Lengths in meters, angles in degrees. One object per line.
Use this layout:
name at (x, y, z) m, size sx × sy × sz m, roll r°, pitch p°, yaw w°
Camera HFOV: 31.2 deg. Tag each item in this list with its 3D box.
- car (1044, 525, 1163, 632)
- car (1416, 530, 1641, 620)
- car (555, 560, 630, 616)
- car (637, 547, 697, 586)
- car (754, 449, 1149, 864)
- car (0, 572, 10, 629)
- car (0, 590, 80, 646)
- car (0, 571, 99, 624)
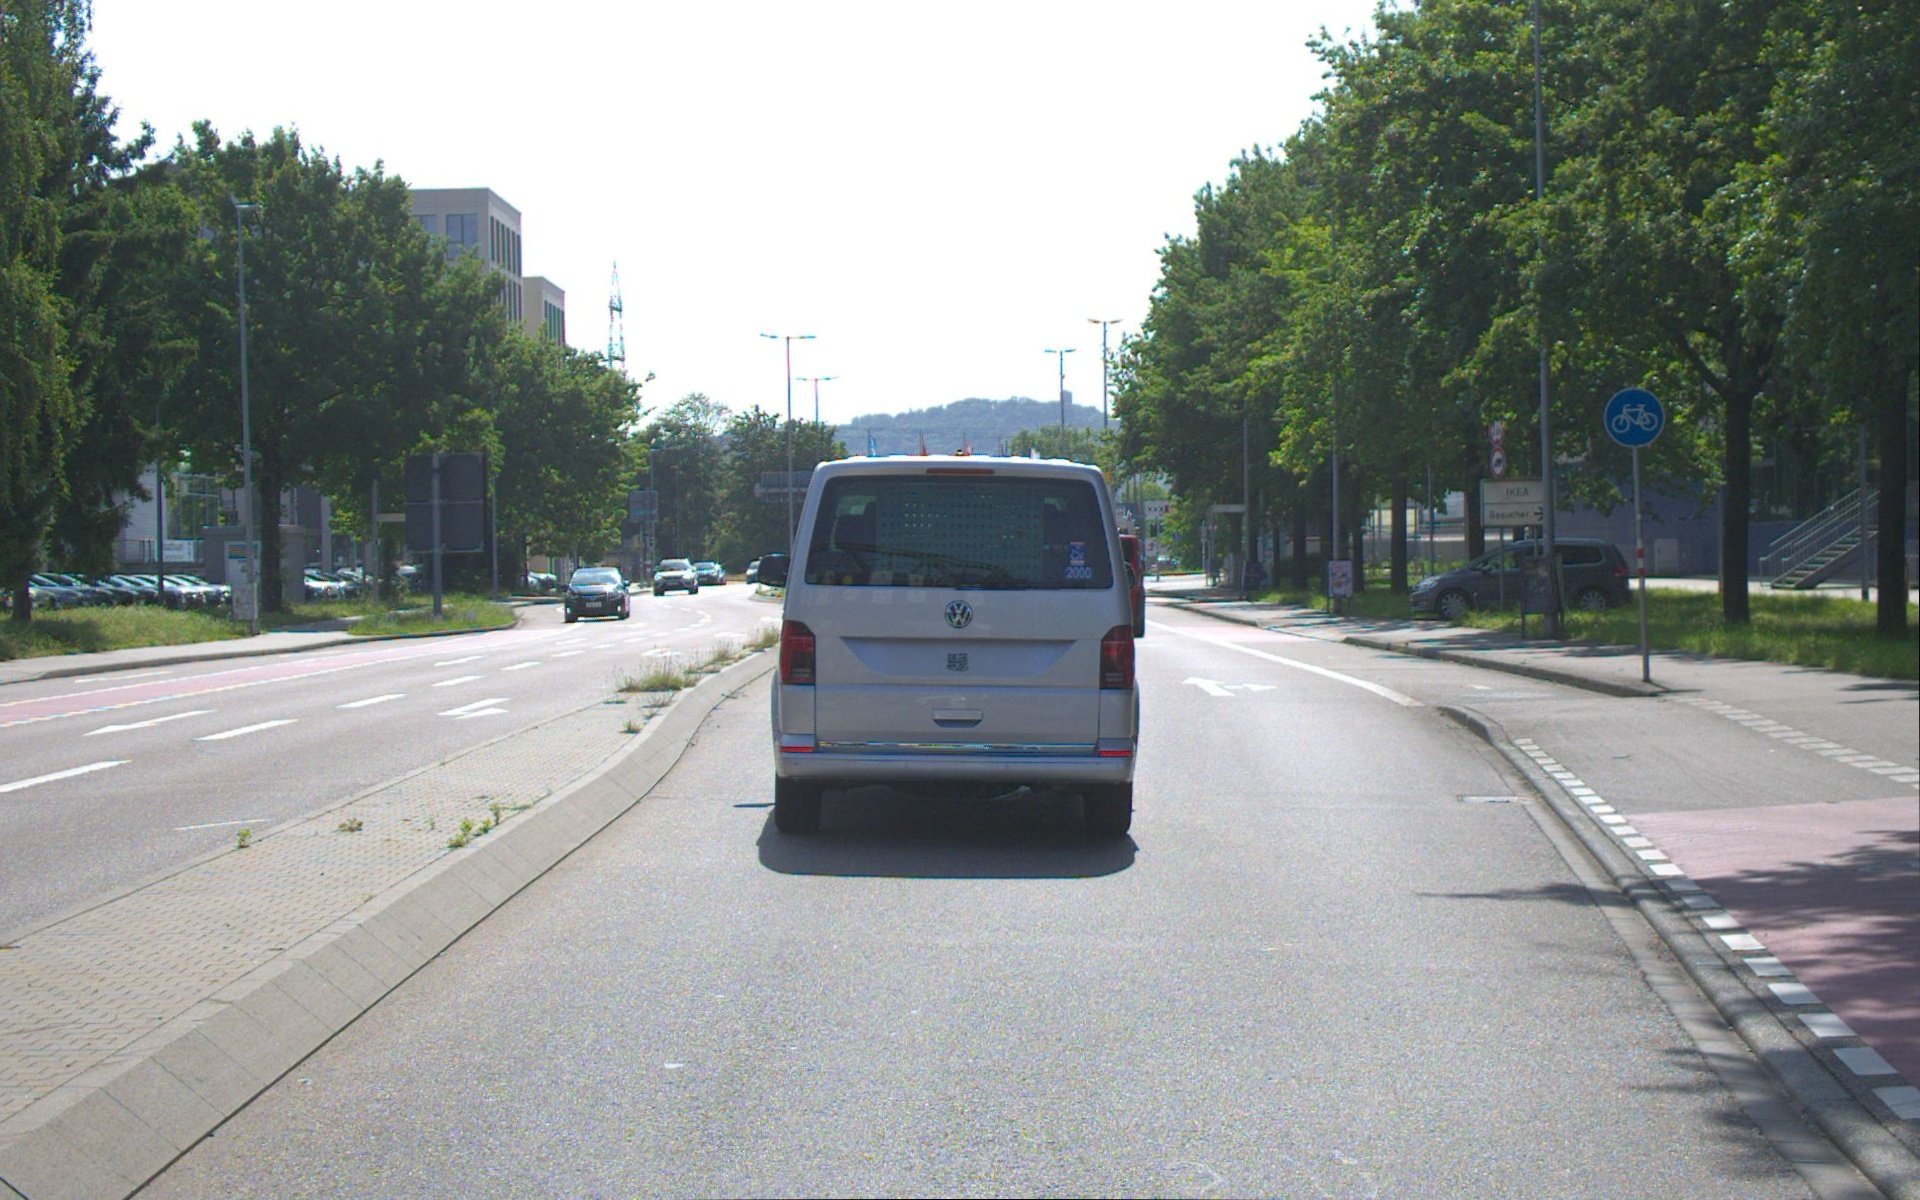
car at (2.721, -0.429, 66.439) m, size 1.967 × 1.961 × 5.126 m, roll 1°, pitch 1°, yaw -1°
car at (11.674, -0.514, 70.826) m, size 4.445 × 1.688 × 1.844 m, roll -2°, pitch 0°, yaw 7°
car at (-10.591, -0.367, 99.300) m, size 1.698 × 1.514 × 4.027 m, roll -2°, pitch 1°, yaw -1°
car at (-12.838, -1.467, 150.972) m, size 1.994 × 1.612 × 4.103 m, roll -2°, pitch 0°, yaw 4°
car at (-0.055, 0.251, 18.599) m, size 1.884 × 1.983 × 4.000 m, roll 1°, pitch 1°, yaw 0°
car at (-23.775, 0.000, 78.340) m, size 3.791 × 1.281 × 1.745 m, roll 1°, pitch 1°, yaw -2°
car at (-24.666, 0.509, 87.835) m, size 3.887 × 1.336 × 1.840 m, roll -3°, pitch 1°, yaw -2°
car at (-24.617, -0.052, 90.200) m, size 3.593 × 1.281 × 1.865 m, roll -3°, pitch 1°, yaw -2°
